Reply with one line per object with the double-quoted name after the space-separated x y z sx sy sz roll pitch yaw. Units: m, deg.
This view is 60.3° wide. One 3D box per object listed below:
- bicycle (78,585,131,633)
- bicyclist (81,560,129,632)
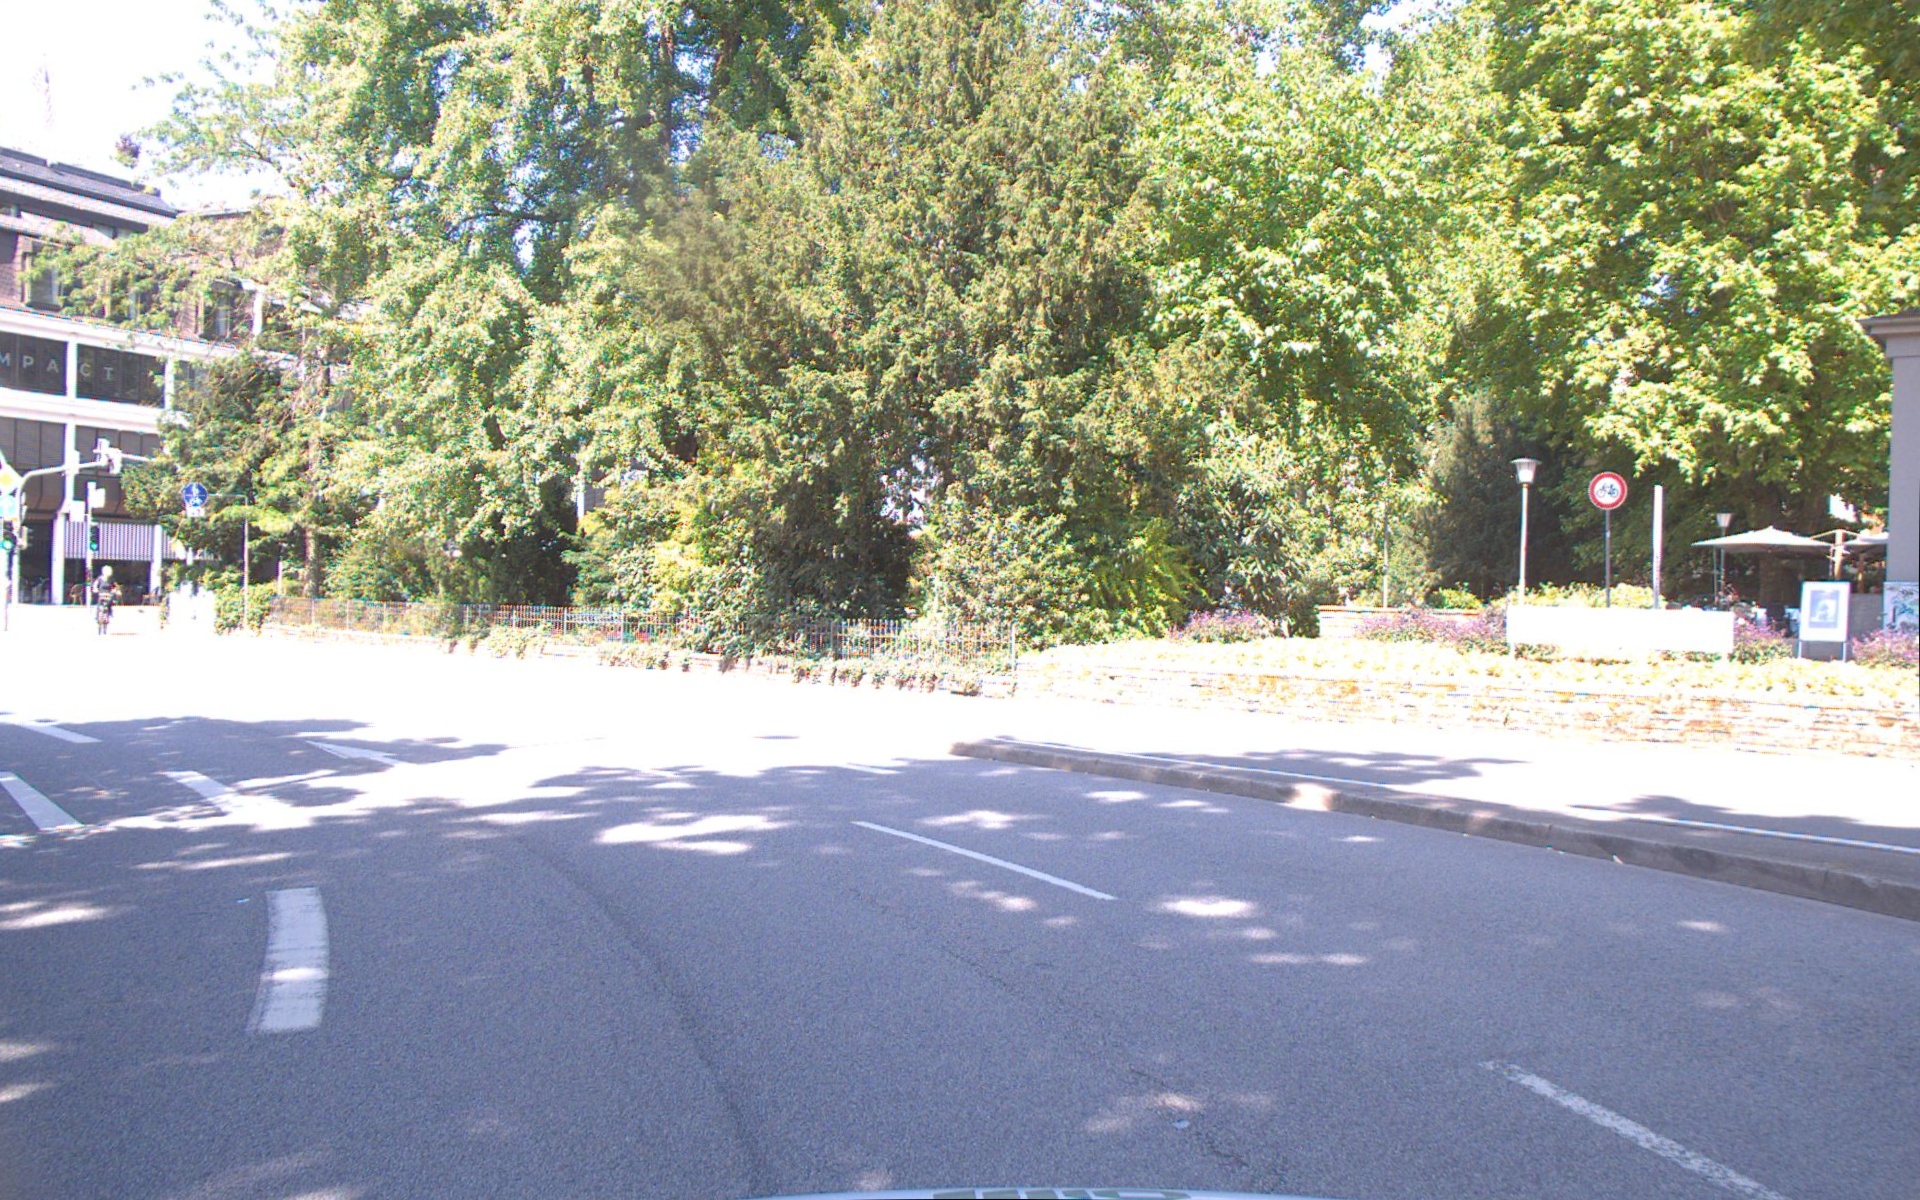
-22.330 0.236 43.162 0.848 1.180 2.055 1 0 -38 "bicycle"
-22.308 -0.102 43.142 0.853 1.827 1.114 2 0 -39 "bicyclist"
